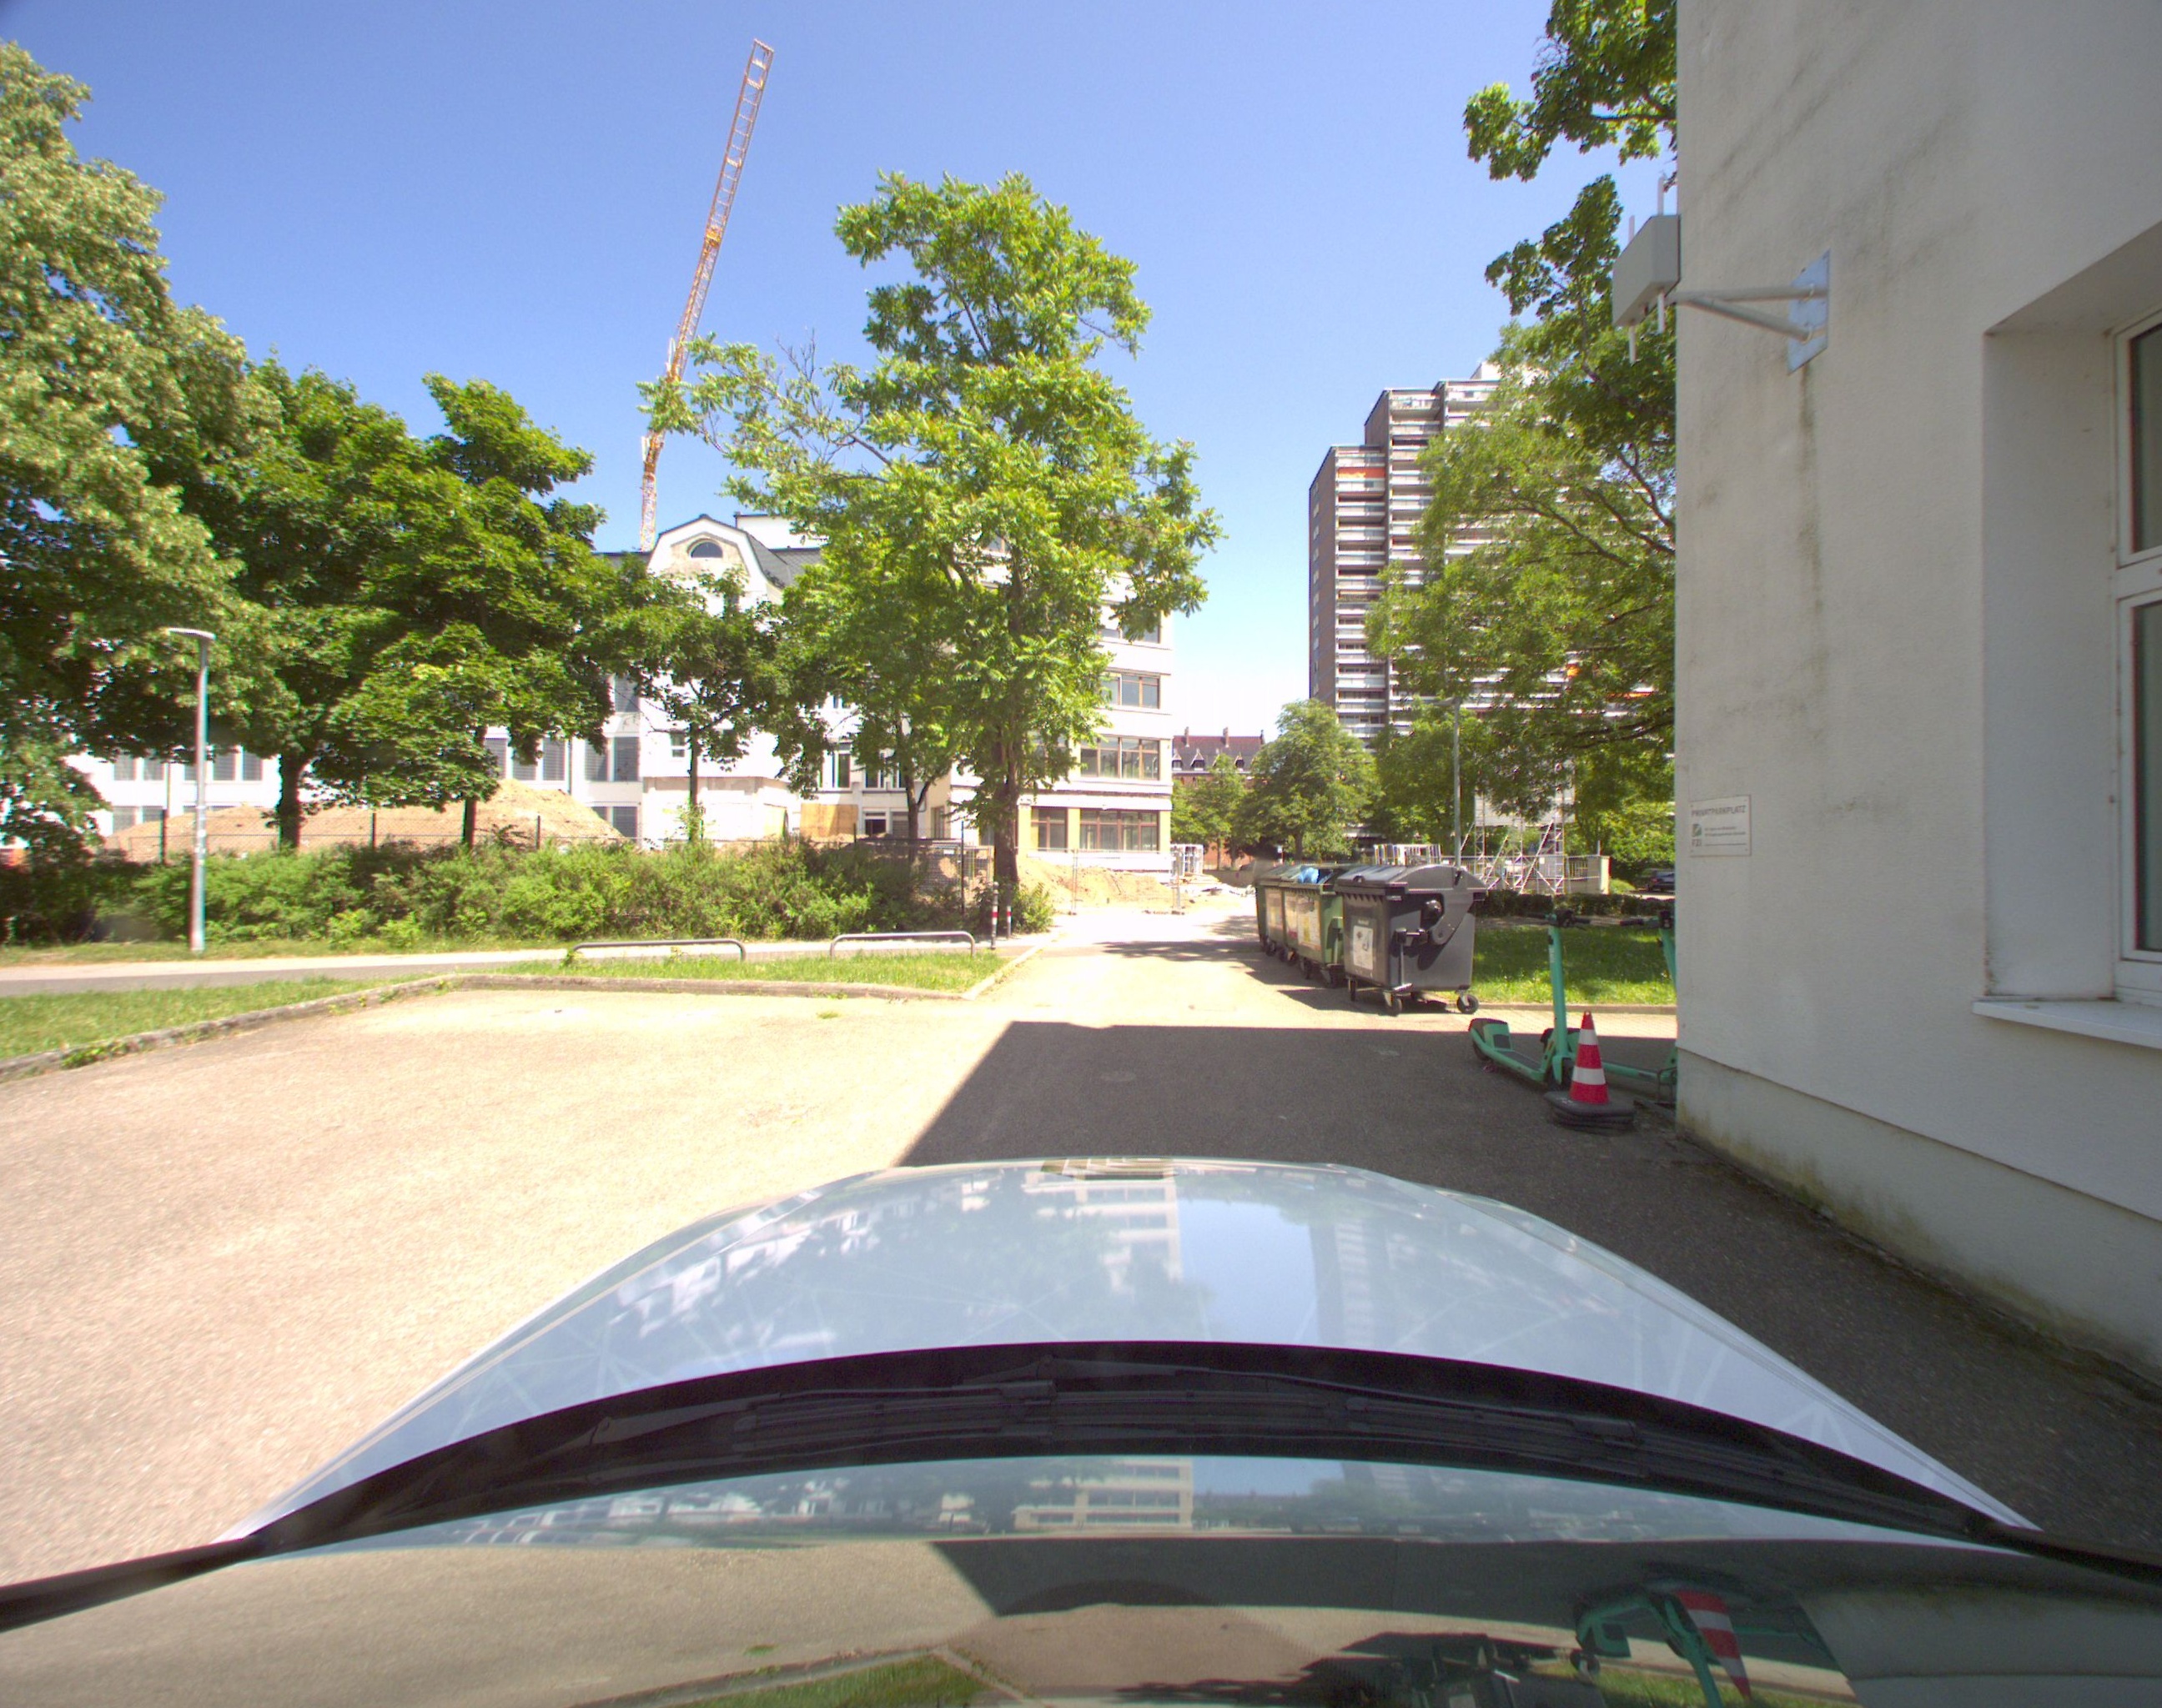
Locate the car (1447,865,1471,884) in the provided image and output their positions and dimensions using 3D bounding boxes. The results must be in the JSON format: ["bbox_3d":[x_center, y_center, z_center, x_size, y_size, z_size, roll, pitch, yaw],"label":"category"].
[{"bbox_3d":[29.643,1.589,63.913,1.618,1.387,3.698,0,0,24],"label":"car"}]

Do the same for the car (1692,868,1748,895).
[{"bbox_3d":[37.026,1.567,47.290,1.619,1.464,3.698,0,0,23],"label":"car"}]

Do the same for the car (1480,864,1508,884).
[{"bbox_3d":[30.762,1.473,60.722,1.618,1.387,3.698,0,0,24],"label":"car"}]

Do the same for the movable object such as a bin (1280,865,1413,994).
[{"bbox_3d":[3.212,0.875,10.002,1.176,1.470,1.310,1,-1,-2],"label":"movable object such as a bin"}]

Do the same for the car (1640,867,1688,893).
[{"bbox_3d":[35.550,1.537,49.729,1.619,1.464,3.698,0,0,23],"label":"car"}]

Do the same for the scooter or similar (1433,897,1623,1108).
[{"bbox_3d":[2.943,0.915,5.499,0.463,1.174,1.355,1,0,-4],"label":"scooter or similar"}]

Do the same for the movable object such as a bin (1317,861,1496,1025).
[{"bbox_3d":[3.231,0.837,8.261,1.153,1.505,1.460,1,-1,-5],"label":"movable object such as a bin"}]

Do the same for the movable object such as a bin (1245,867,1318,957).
[{"bbox_3d":[3.549,0.985,14.358,1.170,1.470,1.338,1,-1,15],"label":"movable object such as a bin"}]

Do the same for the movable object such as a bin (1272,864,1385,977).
[{"bbox_3d":[3.418,0.883,11.378,1.175,1.470,1.311,1,-1,0],"label":"movable object such as a bin"}]

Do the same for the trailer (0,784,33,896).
[{"bbox_3d":[-37.520,-0.499,24.920,8.686,3.421,3.052,1,-1,11],"label":"trailer"}]

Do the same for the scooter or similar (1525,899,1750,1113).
[{"bbox_3d":[3.603,0.916,5.381,0.464,1.174,1.250,1,0,-13],"label":"scooter or similar"}]

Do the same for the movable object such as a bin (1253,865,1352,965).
[{"bbox_3d":[3.452,0.923,12.820,1.175,1.470,1.311,1,-1,-1],"label":"movable object such as a bin"}]
